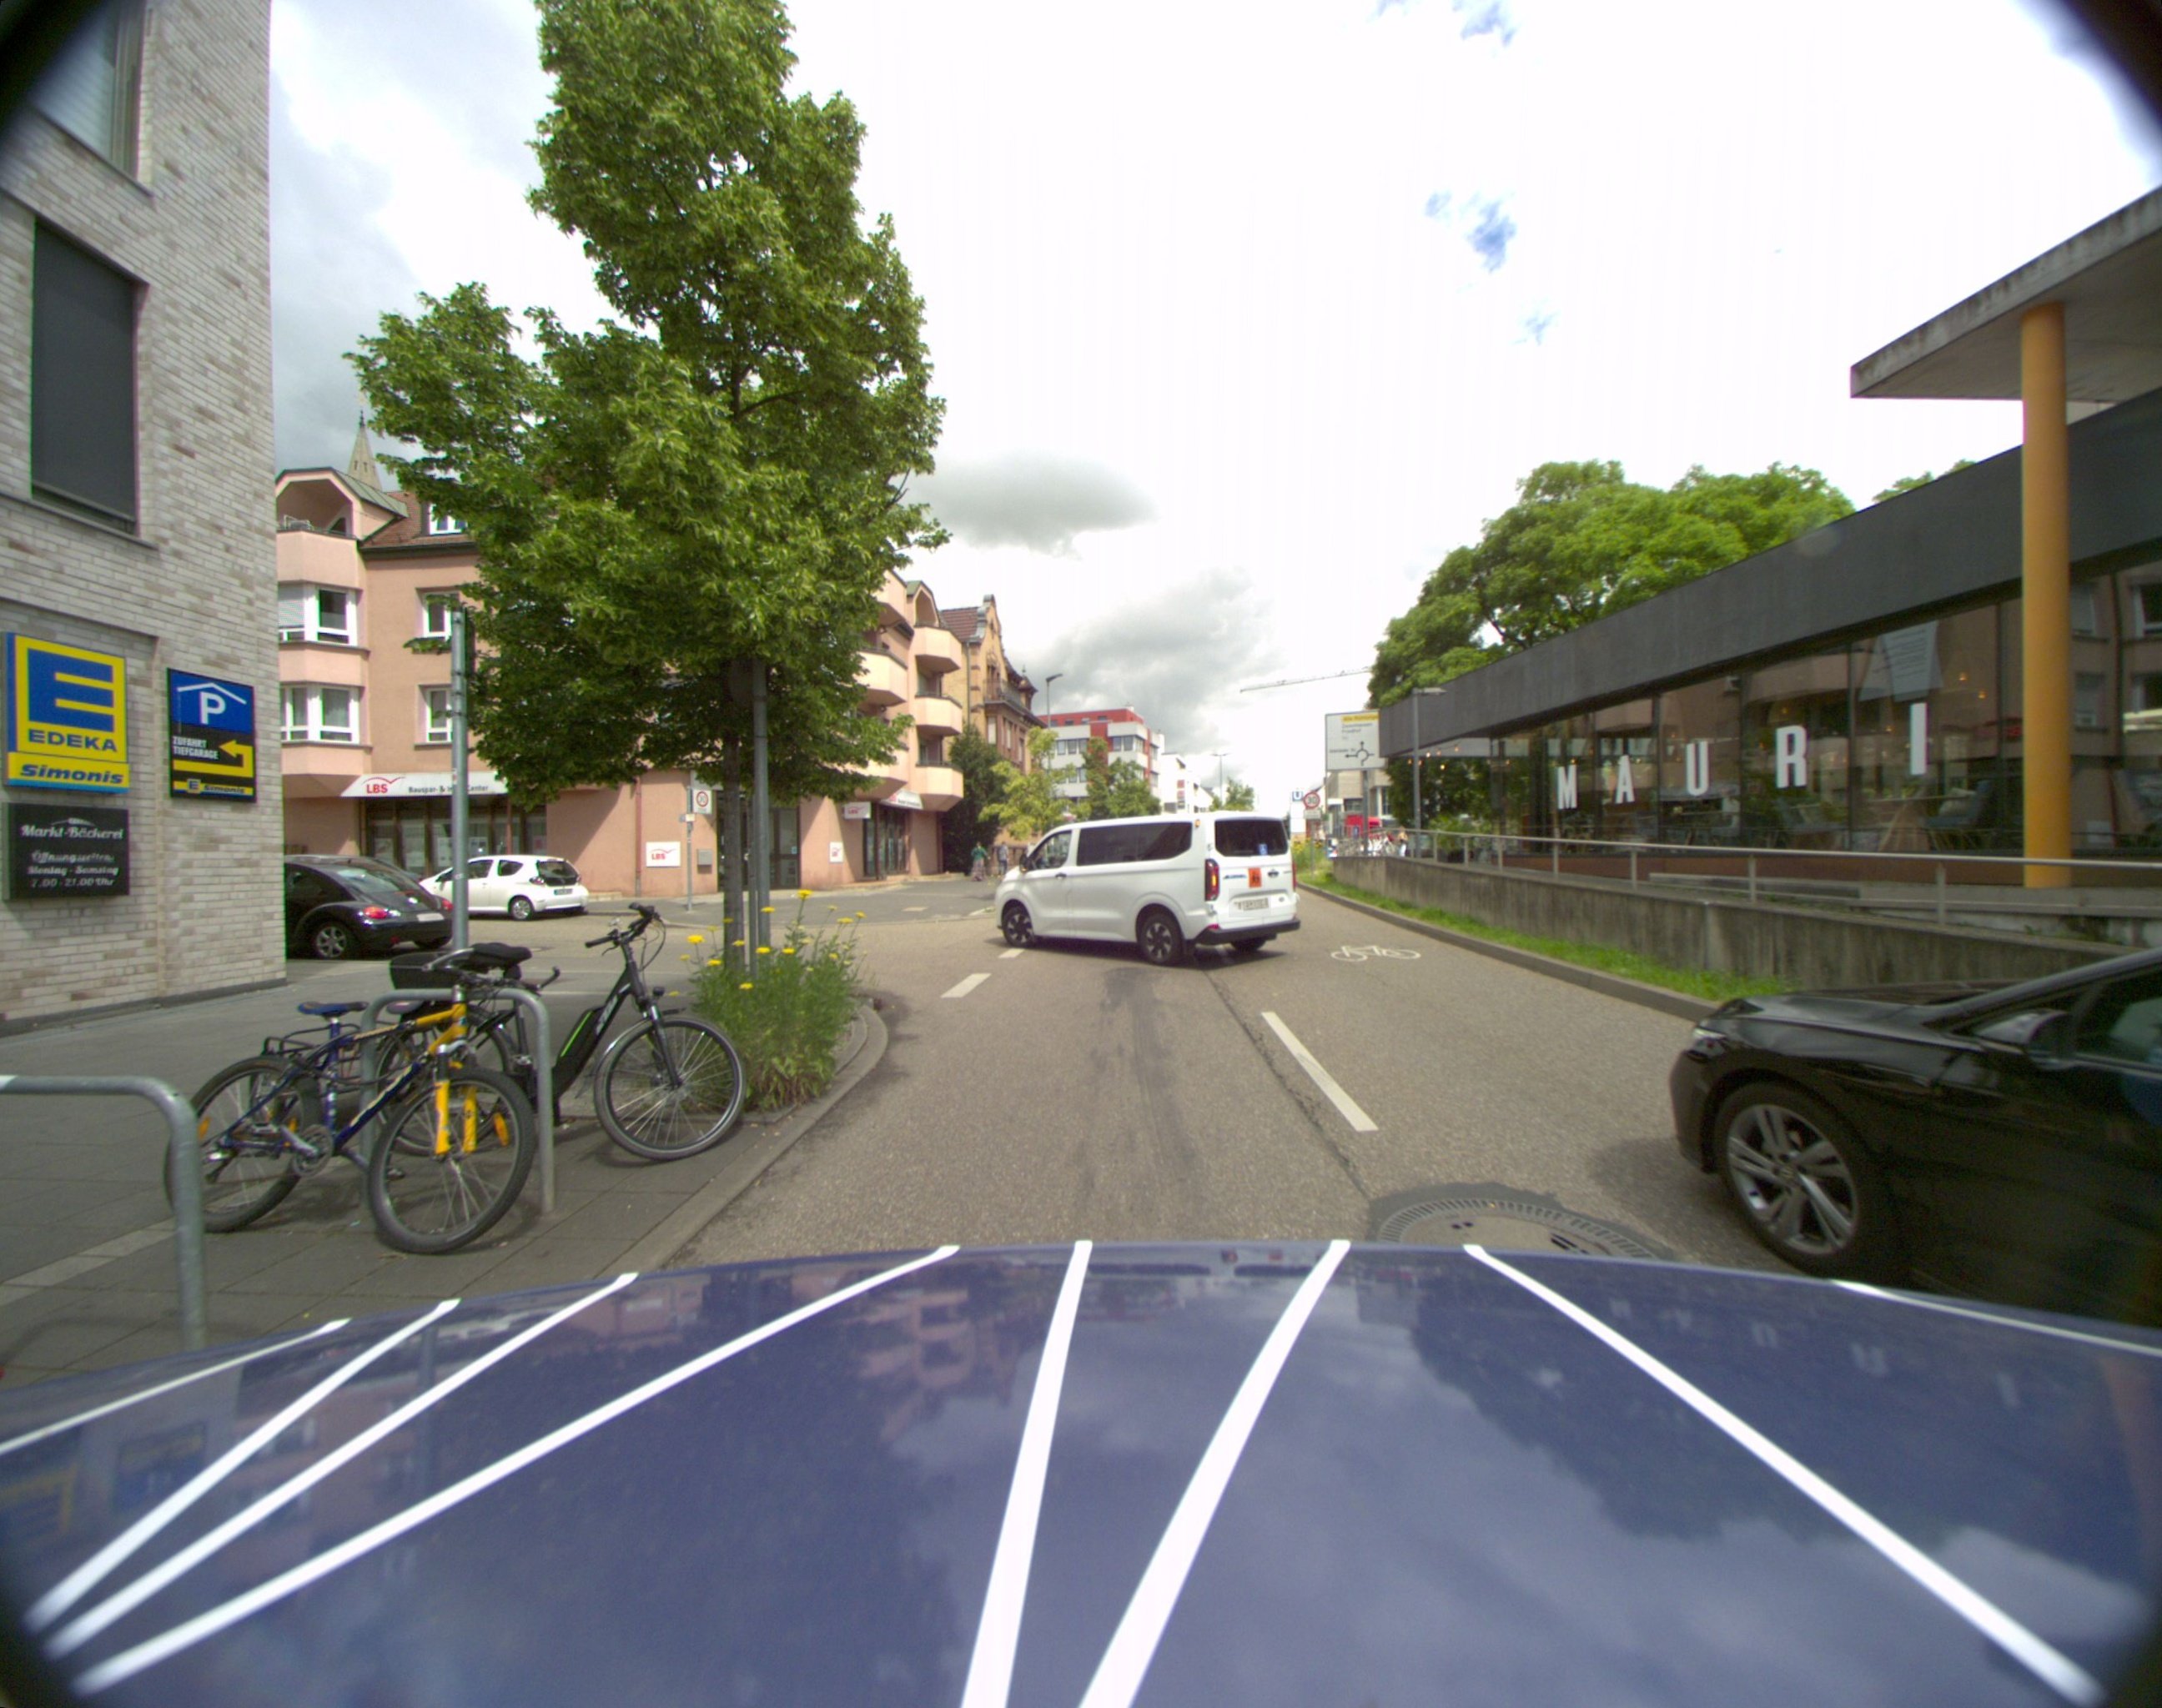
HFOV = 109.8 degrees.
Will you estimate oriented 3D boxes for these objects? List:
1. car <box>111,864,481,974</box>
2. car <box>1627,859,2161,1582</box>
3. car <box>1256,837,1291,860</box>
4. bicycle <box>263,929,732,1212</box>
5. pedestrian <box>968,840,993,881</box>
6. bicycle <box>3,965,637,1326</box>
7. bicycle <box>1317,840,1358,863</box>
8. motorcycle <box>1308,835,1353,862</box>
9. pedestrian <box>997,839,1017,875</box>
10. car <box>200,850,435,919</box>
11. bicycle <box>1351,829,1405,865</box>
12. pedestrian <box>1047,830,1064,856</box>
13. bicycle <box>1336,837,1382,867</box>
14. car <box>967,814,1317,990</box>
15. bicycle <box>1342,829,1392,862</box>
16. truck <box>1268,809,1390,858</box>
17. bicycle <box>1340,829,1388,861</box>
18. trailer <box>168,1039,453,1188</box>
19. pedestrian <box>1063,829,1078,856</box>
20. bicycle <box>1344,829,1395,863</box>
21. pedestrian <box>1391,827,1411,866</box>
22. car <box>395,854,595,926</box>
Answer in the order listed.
[{"bbox_3d":[-11.872,0.931,11.687,3.903,1.468,1.783,1,1,2],"label":"car"},{"bbox_3d":[3.159,0.799,1.054,1.776,1.455,4.234,-2,1,1],"label":"car"},{"bbox_3d":[14.049,-0.406,55.334,1.824,1.576,4.171,1,2,22],"label":"car"},{"bbox_3d":[-2.873,1.029,3.881,1.827,1.194,0.756,0,1,3],"label":"bicycle"},{"bbox_3d":[-4.090,0.263,30.940,0.745,1.629,0.928,1,1,9],"label":"pedestrian"},{"bbox_3d":[-2.929,1.081,3.068,1.827,1.125,0.756,0,1,3],"label":"bicycle"},{"bbox_3d":[11.758,-0.109,34.868,1.689,1.075,0.515,-1,0,6],"label":"bicycle"},{"bbox_3d":[13.354,-0.312,40.754,2.193,1.442,0.648,0,3,9],"label":"motorcycle"},{"bbox_3d":[-3.475,0.139,35.779,0.717,1.676,0.944,0,3,6],"label":"pedestrian"},{"bbox_3d":[-17.903,0.674,17.912,4.016,1.468,1.833,1,1,8],"label":"car"},{"bbox_3d":[9.642,-0.225,24.691,1.549,1.121,0.534,0,1,10],"label":"bicycle"},{"bbox_3d":[-1.615,-0.702,48.039,0.738,1.631,0.677,0,3,35],"label":"pedestrian"},{"bbox_3d":[10.261,-0.077,28.072,1.549,1.121,0.534,0,1,10],"label":"bicycle"},{"bbox_3d":[0.588,0.574,11.436,2.003,2.002,5.380,-4,1,-39],"label":"car"},{"bbox_3d":[9.970,-0.289,26.541,1.549,1.121,0.534,0,1,10],"label":"bicycle"},{"bbox_3d":[21.620,-1.812,65.931,10.859,3.821,2.677,-3,2,-23],"label":"truck"},{"bbox_3d":[10.155,-0.333,27.290,1.549,1.121,0.534,0,1,10],"label":"bicycle"},{"bbox_3d":[-4.188,1.391,4.197,0.721,0.525,0.812,-1,1,6],"label":"trailer"},{"bbox_3d":[-0.656,-0.739,48.132,0.696,1.649,0.741,-1,3,21],"label":"pedestrian"},{"bbox_3d":[9.773,-0.264,25.794,1.549,1.121,0.534,0,1,10],"label":"bicycle"},{"bbox_3d":[13.491,-0.316,32.016,0.660,1.619,0.801,-1,0,17],"label":"pedestrian"},{"bbox_3d":[-13.308,0.773,17.358,3.387,1.468,1.719,1,1,8],"label":"car"}]
